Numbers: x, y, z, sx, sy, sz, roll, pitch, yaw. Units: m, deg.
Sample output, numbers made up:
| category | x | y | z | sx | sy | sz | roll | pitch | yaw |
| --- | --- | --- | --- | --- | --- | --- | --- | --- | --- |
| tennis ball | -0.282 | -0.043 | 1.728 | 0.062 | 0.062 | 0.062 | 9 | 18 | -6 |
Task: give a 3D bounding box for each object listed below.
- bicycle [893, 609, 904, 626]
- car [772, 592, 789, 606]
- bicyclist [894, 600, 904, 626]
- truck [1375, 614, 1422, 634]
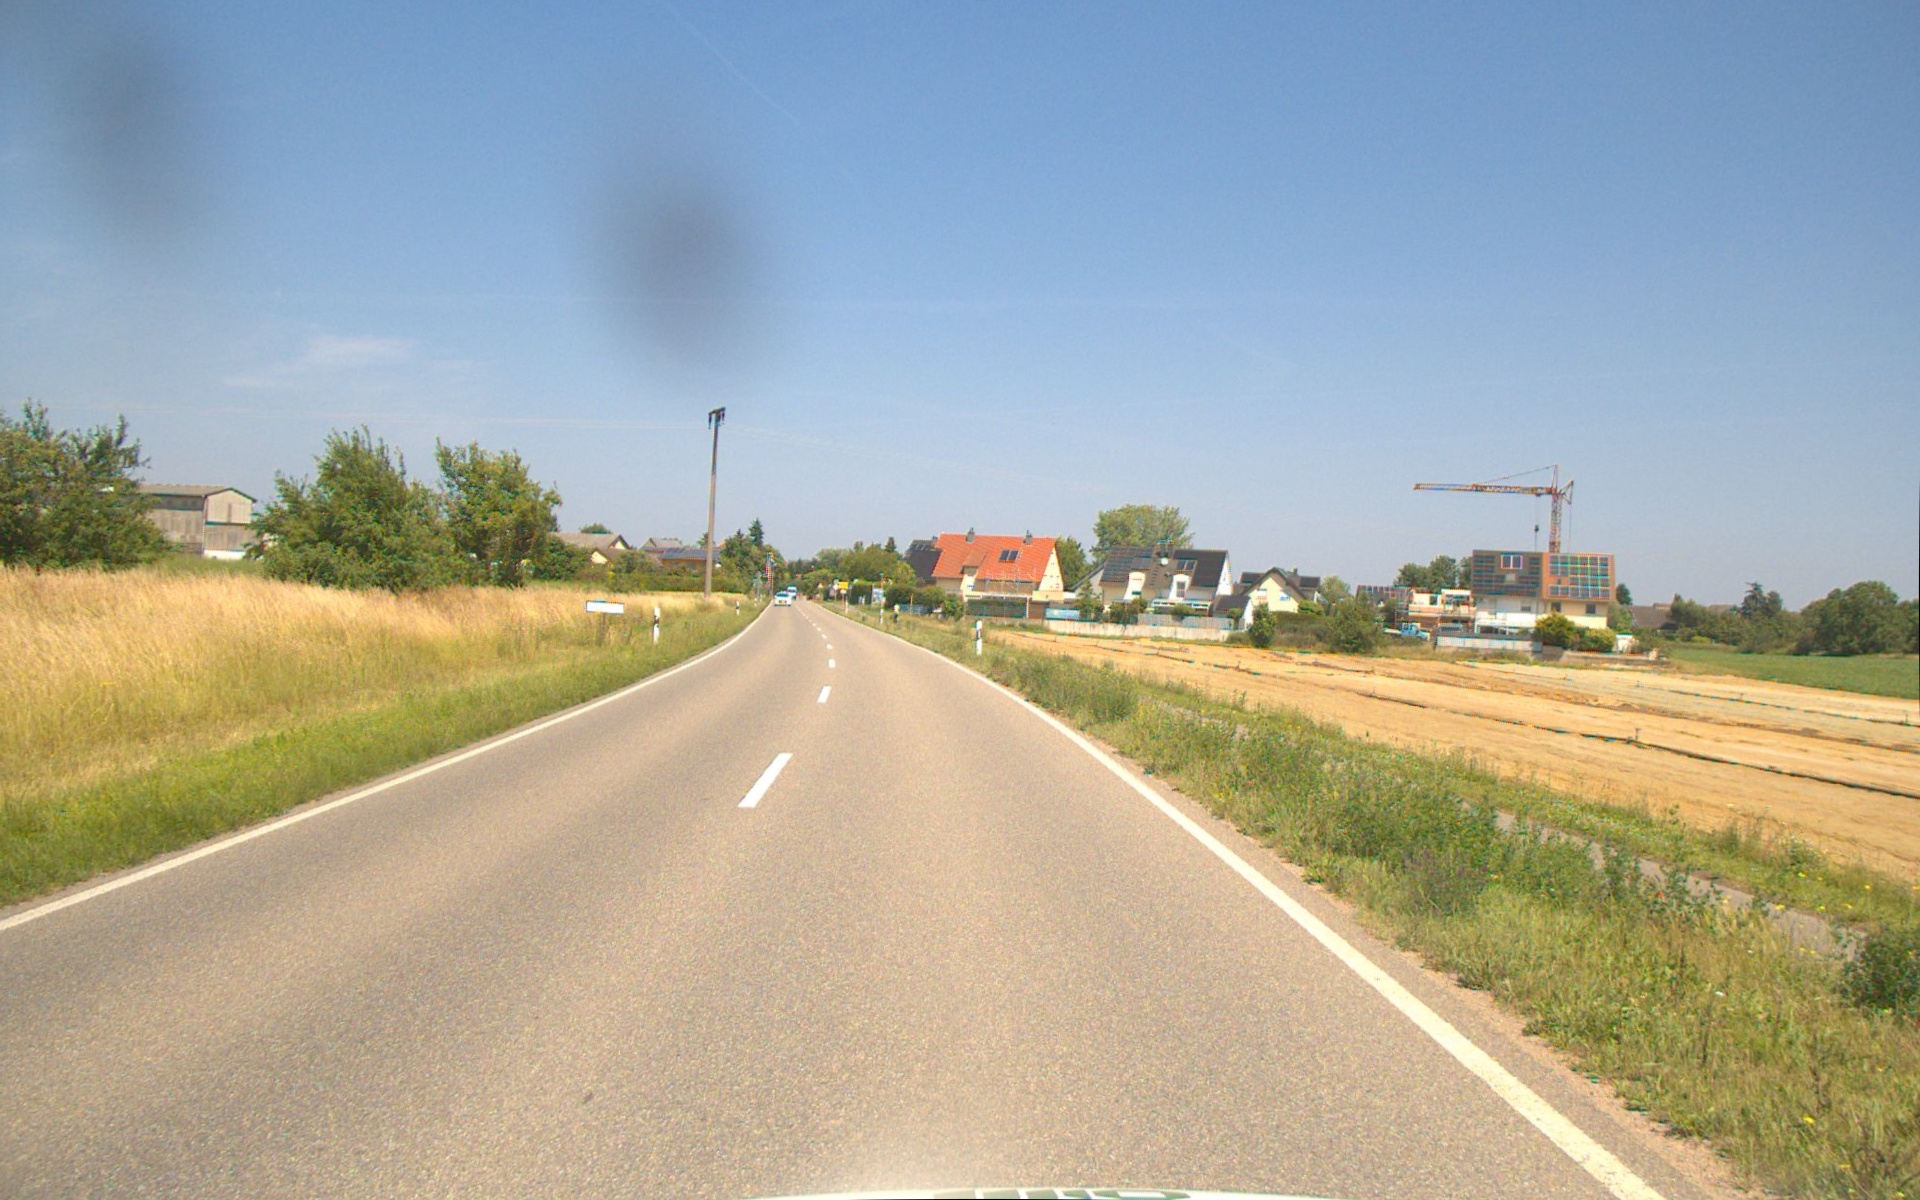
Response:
| category | x | y | z | sx | sy | sz | roll | pitch | yaw |
| --- | --- | --- | --- | --- | --- | --- | --- | --- | --- |
| bicycle | -4.773 | 1.357 | 128.534 | 0.599 | 1.178 | 2.271 | 4 | 1 | -7 |
| car | -19.291 | -0.106 | 178.163 | 1.757 | 1.434 | 4.180 | 2 | 0 | -6 |
| bicyclist | -4.735 | 0.982 | 128.469 | 0.633 | 1.922 | 0.859 | 4 | 0 | -7 |
| truck | 53.874 | 2.964 | 203.066 | 5.438 | 2.269 | 2.215 | 2 | 0 | 19 |
